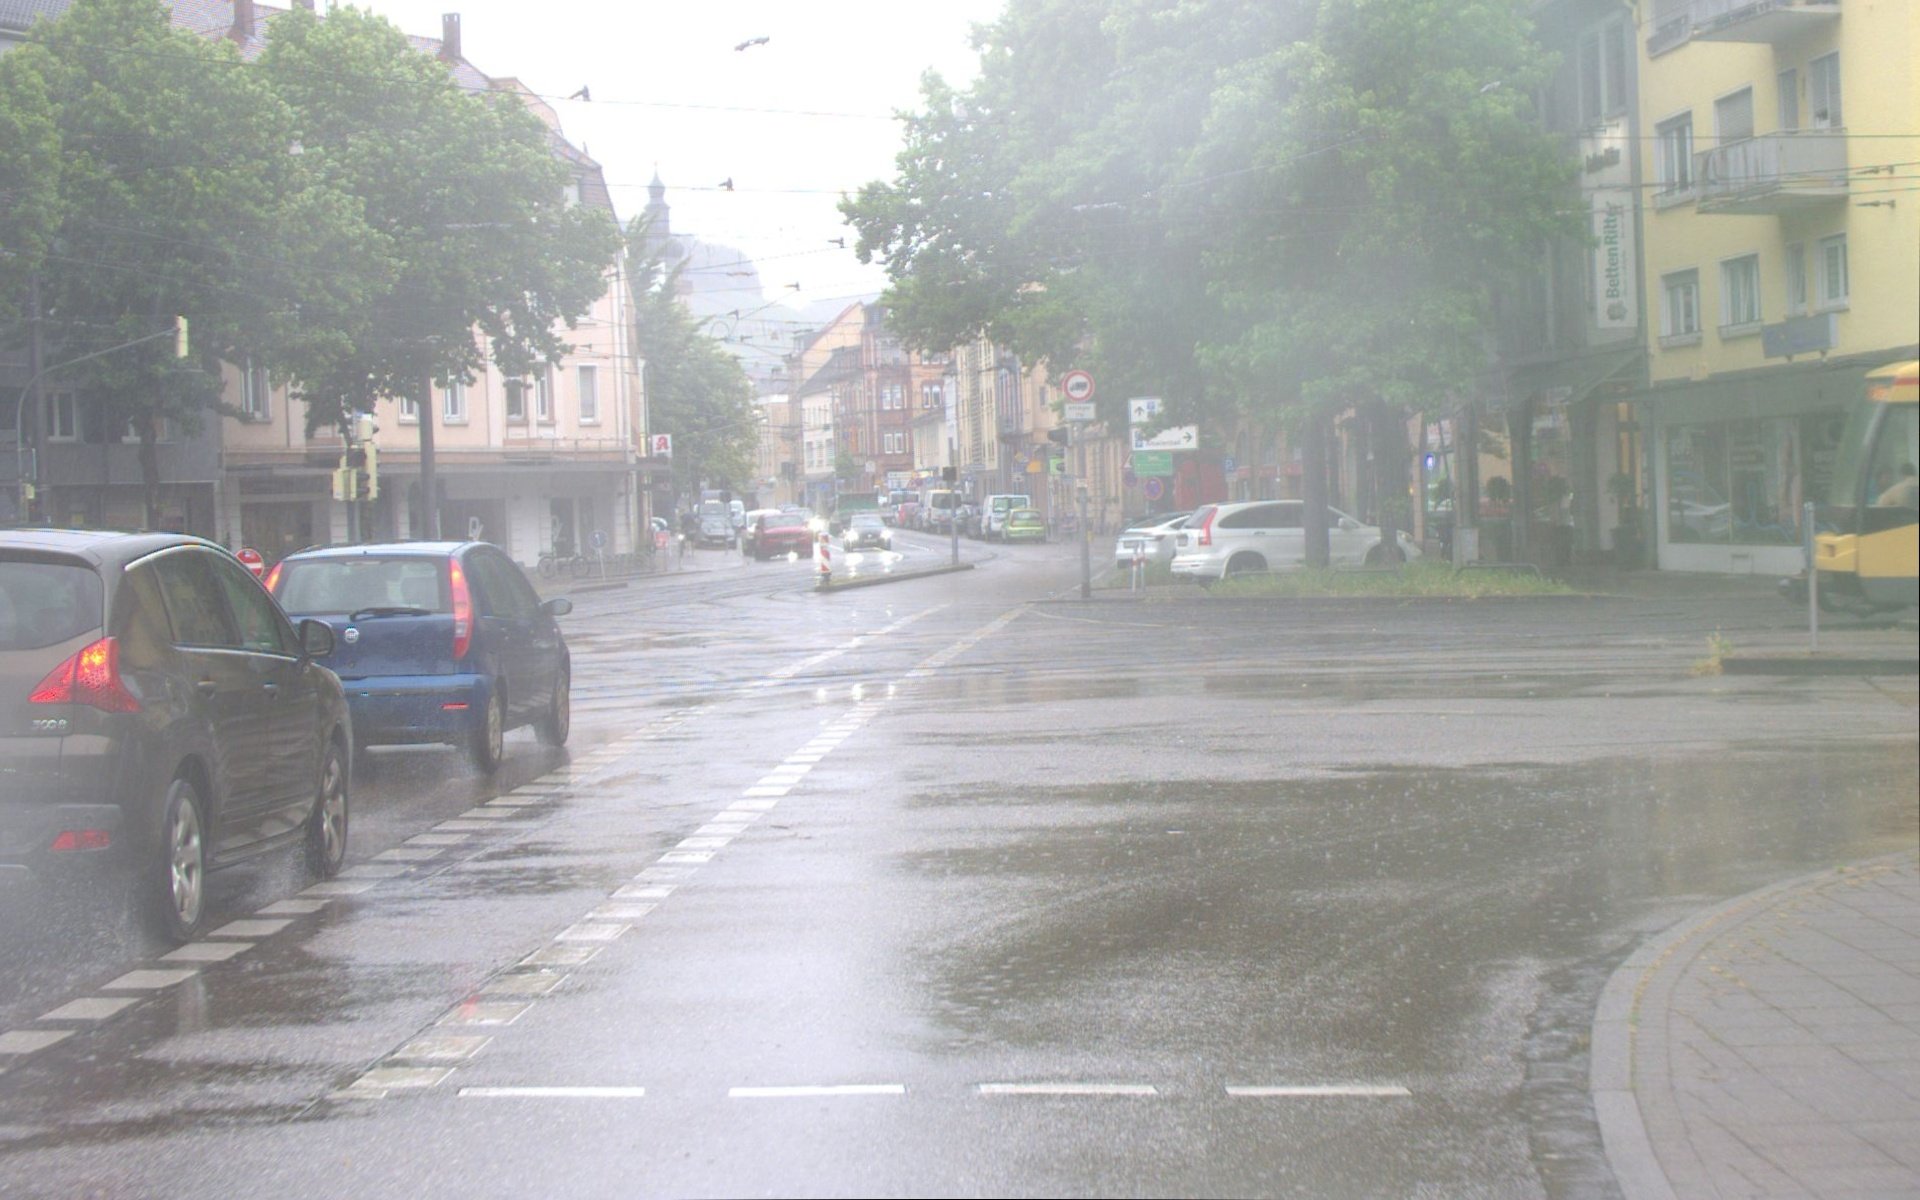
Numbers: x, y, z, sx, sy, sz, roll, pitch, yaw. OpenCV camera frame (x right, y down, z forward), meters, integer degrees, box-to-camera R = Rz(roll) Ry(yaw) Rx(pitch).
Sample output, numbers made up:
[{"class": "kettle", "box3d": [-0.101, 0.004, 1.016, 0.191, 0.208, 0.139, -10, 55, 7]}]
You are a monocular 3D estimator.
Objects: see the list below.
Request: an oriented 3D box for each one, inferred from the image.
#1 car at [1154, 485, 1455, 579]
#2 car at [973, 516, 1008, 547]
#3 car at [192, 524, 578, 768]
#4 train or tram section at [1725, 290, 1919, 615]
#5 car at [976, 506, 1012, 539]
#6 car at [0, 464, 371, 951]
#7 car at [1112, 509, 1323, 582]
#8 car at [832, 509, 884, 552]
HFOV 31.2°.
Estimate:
[{"class": "car", "box3d": [6.144, -1.237, 61.620, 4.972, 1.469, 2.001, -2, 2, -10]}, {"class": "car", "box3d": [1.370, -3.087, 155.024, 1.475, 1.358, 3.462, 0, 0, -1]}, {"class": "car", "box3d": [-3.680, 0.315, 22.626, 1.882, 1.454, 3.831, 0, -1, 0]}, {"class": "train or tram section", "box3d": [16.227, -1.722, 38.754, 14.532, 3.546, 3.116, -1, 2, 5]}, {"class": "car", "box3d": [1.462, -3.349, 148.522, 1.475, 1.358, 3.462, 0, 0, -1]}, {"class": "car", "box3d": [-3.727, 0.310, 14.128, 1.801, 1.703, 4.191, 0, 2, 1]}, {"class": "car", "box3d": [6.106, -1.297, 81.456, 4.584, 1.551, 1.998, -1, 2, 21]}, {"class": "car", "box3d": [-4.104, -2.778, 137.755, 1.993, 1.683, 4.000, 0, 0, -3]}]
